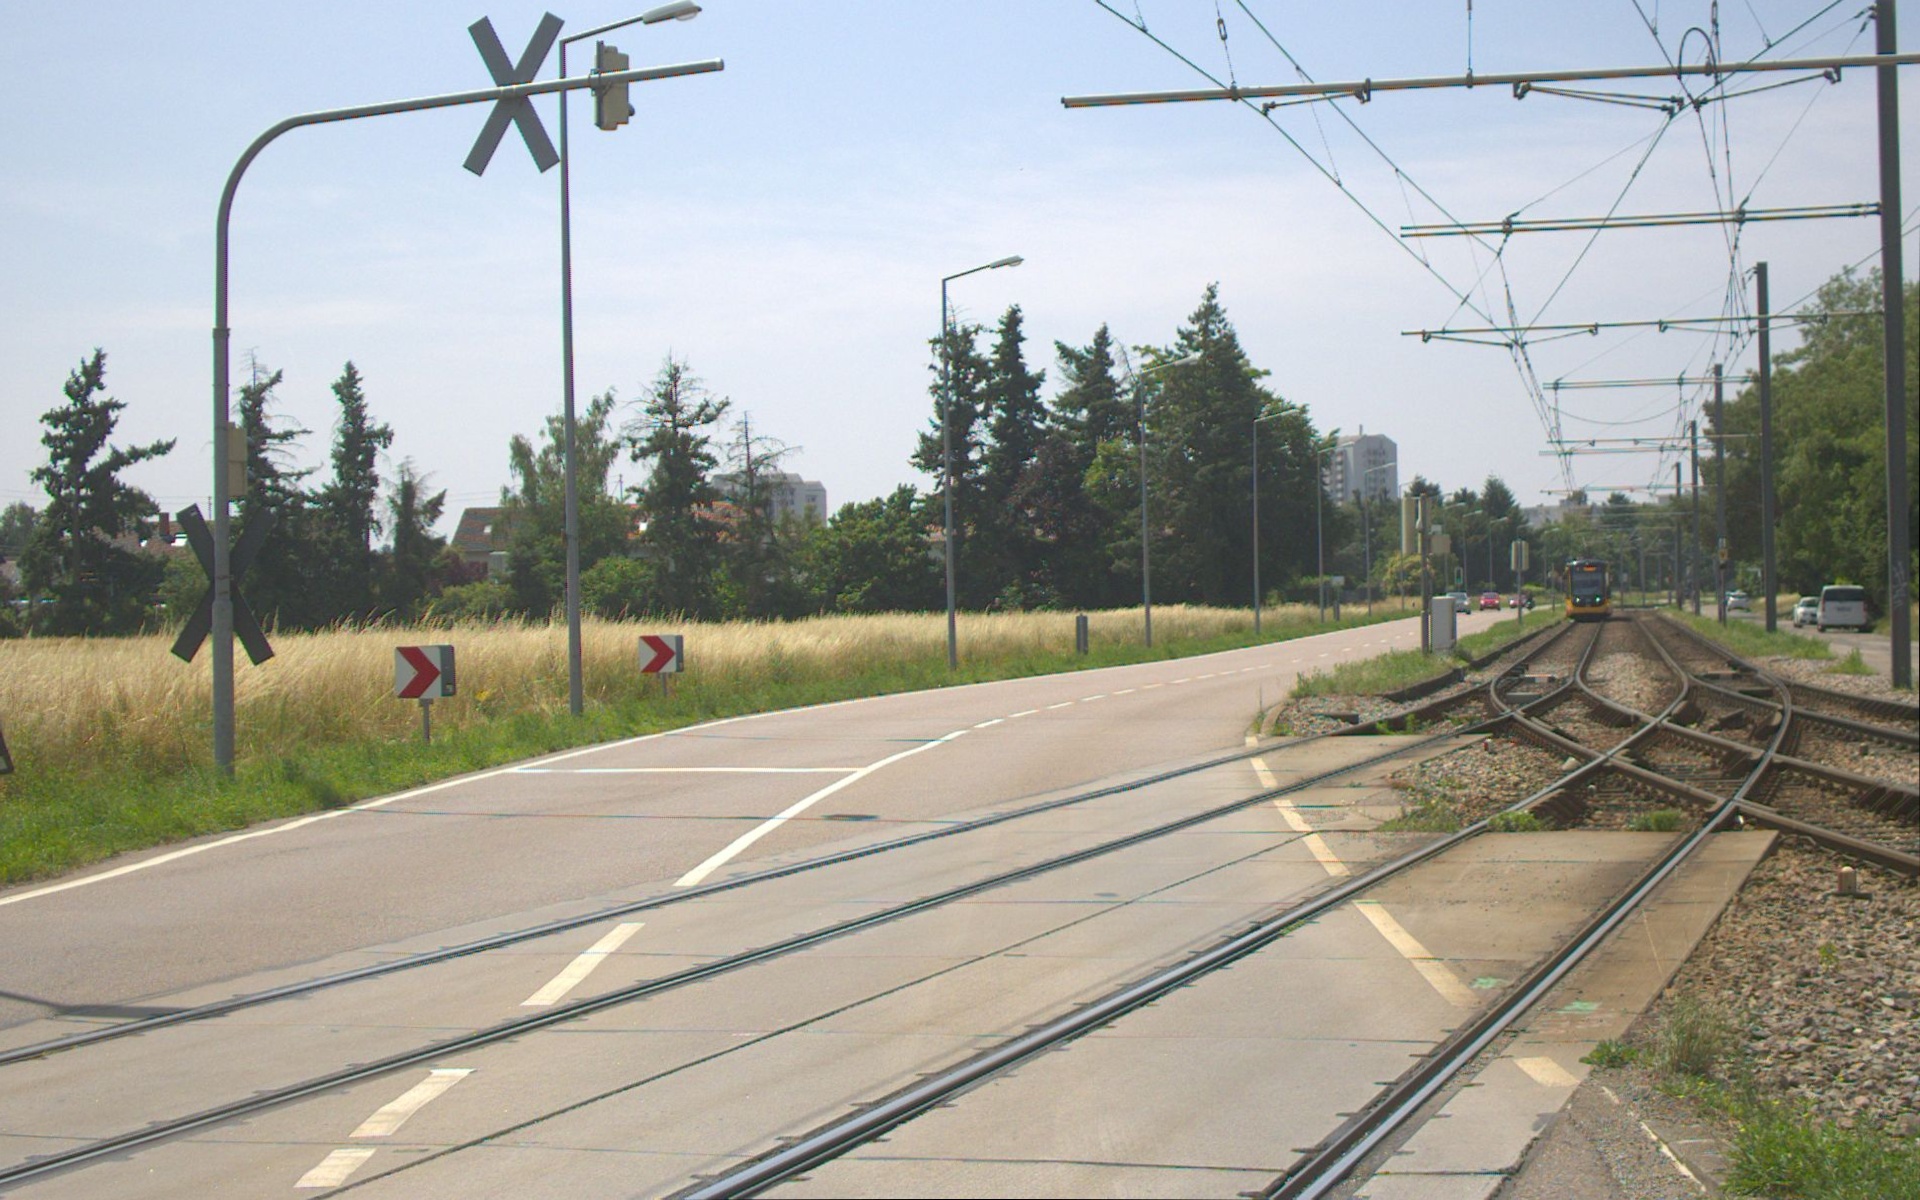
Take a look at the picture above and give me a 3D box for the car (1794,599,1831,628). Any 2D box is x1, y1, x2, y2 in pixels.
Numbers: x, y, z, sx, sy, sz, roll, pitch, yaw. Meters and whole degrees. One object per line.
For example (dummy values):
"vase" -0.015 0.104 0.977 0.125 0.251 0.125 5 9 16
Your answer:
"car" 39.546 0.640 159.569 1.429 1.304 3.464 -1 -1 11

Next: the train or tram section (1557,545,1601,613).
"train or tram section" 36.655 -1.176 203.354 2.430 3.753 11.553 -1 -1 11

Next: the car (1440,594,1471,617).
"car" 33.608 0.392 233.057 1.835 1.462 4.676 -1 -1 11

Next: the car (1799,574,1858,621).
"car" 35.456 -0.094 140.434 1.994 1.796 4.792 -1 -1 11
